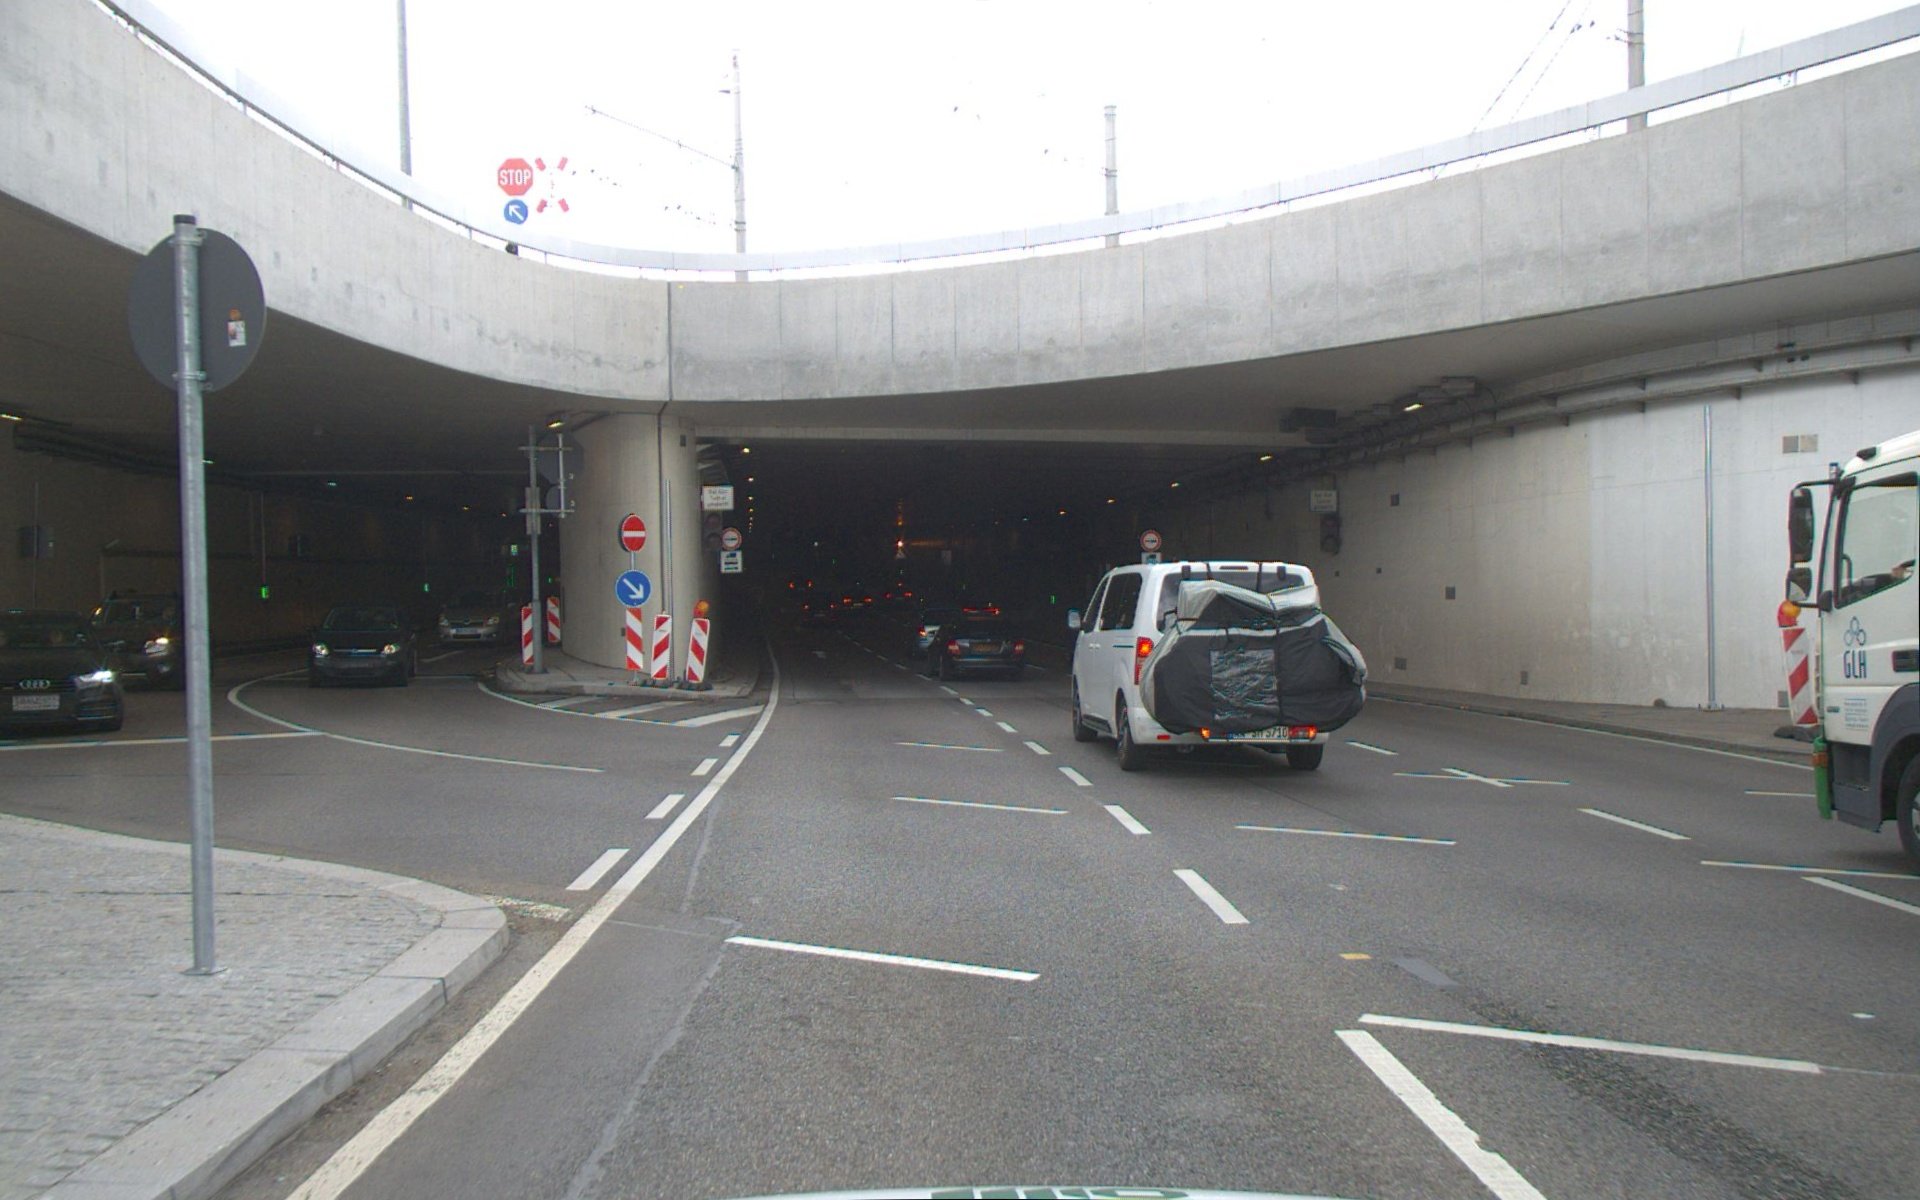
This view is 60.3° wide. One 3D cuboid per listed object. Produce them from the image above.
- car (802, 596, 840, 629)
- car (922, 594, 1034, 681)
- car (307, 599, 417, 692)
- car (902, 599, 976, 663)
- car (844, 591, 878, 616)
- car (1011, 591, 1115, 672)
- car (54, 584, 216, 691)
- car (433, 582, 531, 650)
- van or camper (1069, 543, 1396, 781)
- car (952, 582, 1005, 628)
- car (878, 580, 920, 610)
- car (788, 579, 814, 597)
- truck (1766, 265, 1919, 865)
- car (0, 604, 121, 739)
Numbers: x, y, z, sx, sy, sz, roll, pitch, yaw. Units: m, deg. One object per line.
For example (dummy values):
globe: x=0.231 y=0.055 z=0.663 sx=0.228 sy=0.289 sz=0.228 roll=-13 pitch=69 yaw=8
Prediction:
car: x=-6.496 y=0.575 z=77.004 sx=1.628 sy=1.514 sz=3.562 roll=0 pitch=0 yaw=-7
car: x=0.320 y=0.765 z=34.979 sx=1.785 sy=1.713 sz=3.992 roll=1 pitch=-1 yaw=-8
car: x=-10.810 y=0.759 z=29.755 sx=1.642 sy=1.466 sz=4.084 roll=-1 pitch=1 yaw=-23
car: x=-0.656 y=0.851 z=47.672 sx=1.783 sy=1.608 sz=3.996 roll=3 pitch=1 yaw=-5
car: x=-5.395 y=0.197 z=89.490 sx=1.632 sy=1.269 sz=3.562 roll=0 pitch=0 yaw=-7
car: x=2.502 y=0.740 z=41.098 sx=1.784 sy=1.779 sz=3.994 roll=3 pitch=1 yaw=-7
car: x=-13.987 y=0.589 z=28.268 sx=1.766 sy=1.627 sz=4.306 roll=2 pitch=0 yaw=-18
car: x=-12.894 y=0.394 z=44.870 sx=1.774 sy=1.632 sz=4.780 roll=-1 pitch=2 yaw=-7
van or camper: x=2.367 y=0.525 z=15.958 sx=1.954 sy=1.877 sz=5.504 roll=1 pitch=-1 yaw=-3
car: x=0.723 y=0.184 z=66.553 sx=1.628 sy=1.662 sz=3.562 roll=3 pitch=1 yaw=-7
car: x=-3.600 y=-0.271 z=96.909 sx=1.953 sy=1.705 sz=4.498 roll=0 pitch=0 yaw=-9
car: x=-11.196 y=-0.823 z=116.126 sx=1.482 sy=1.269 sz=3.557 roll=-1 pitch=0 yaw=-11
truck: x=6.535 y=-0.175 z=6.860 sx=2.596 sy=3.240 sz=7.424 roll=-1 pitch=1 yaw=-2
car: x=-11.456 y=0.799 z=20.463 sx=1.830 sy=1.468 sz=4.799 roll=-1 pitch=0 yaw=-28
